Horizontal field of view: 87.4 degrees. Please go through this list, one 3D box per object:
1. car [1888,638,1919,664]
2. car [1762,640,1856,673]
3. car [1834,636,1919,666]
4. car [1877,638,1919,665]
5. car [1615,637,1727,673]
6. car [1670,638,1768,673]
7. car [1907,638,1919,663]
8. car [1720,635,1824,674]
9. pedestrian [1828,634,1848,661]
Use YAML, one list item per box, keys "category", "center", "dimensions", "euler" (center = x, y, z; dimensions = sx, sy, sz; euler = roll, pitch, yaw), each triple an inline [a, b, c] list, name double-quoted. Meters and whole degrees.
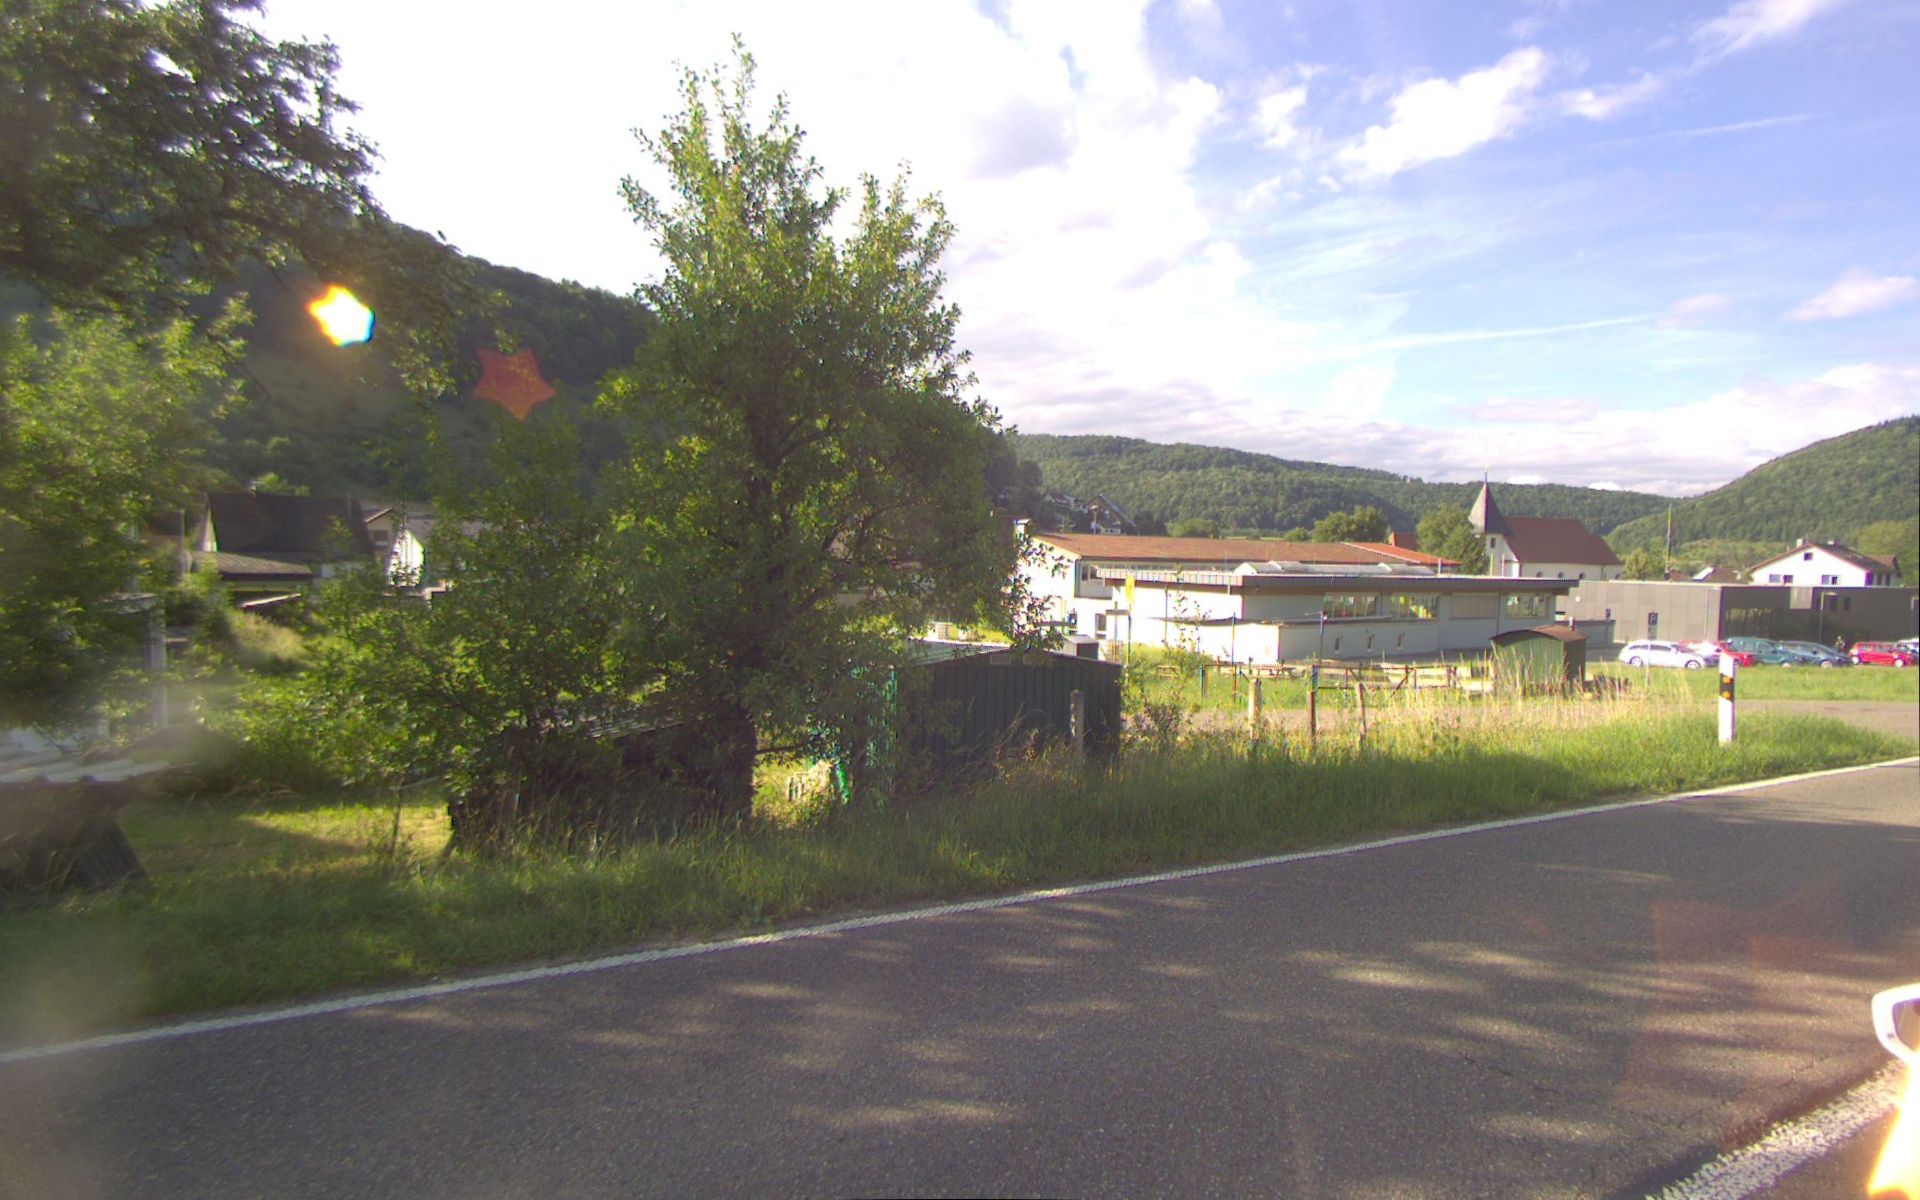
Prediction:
- category: "car"
  center: [67.894, 3.613, 70.287]
  dimensions: [1.978, 1.733, 3.965]
  euler: [2, 0, -32]
- category: "car"
  center: [51.576, 3.417, 61.075]
  dimensions: [1.978, 1.733, 3.965]
  euler: [2, 0, -32]
- category: "car"
  center: [60.710, 3.371, 66.478]
  dimensions: [1.978, 1.733, 3.965]
  euler: [2, 0, -32]
- category: "car"
  center: [65.026, 3.512, 68.015]
  dimensions: [1.978, 1.733, 3.965]
  euler: [2, 0, -32]
- category: "car"
  center: [39.709, 3.025, 56.200]
  dimensions: [1.978, 1.733, 4.705]
  euler: [2, 0, -32]
- category: "car"
  center: [42.839, 3.124, 56.774]
  dimensions: [1.978, 1.733, 3.965]
  euler: [2, 0, -32]
- category: "car"
  center: [70.728, 3.709, 71.866]
  dimensions: [1.978, 1.733, 3.965]
  euler: [2, 0, -32]
- category: "car"
  center: [47.897, 3.202, 59.347]
  dimensions: [1.978, 2.034, 4.382]
  euler: [2, 0, -32]
- category: "pedestrian"
  center: [66.699, 3.625, 76.314]
  dimensions: [0.962, 2.040, 0.821]
  euler: [2, 0, -30]
